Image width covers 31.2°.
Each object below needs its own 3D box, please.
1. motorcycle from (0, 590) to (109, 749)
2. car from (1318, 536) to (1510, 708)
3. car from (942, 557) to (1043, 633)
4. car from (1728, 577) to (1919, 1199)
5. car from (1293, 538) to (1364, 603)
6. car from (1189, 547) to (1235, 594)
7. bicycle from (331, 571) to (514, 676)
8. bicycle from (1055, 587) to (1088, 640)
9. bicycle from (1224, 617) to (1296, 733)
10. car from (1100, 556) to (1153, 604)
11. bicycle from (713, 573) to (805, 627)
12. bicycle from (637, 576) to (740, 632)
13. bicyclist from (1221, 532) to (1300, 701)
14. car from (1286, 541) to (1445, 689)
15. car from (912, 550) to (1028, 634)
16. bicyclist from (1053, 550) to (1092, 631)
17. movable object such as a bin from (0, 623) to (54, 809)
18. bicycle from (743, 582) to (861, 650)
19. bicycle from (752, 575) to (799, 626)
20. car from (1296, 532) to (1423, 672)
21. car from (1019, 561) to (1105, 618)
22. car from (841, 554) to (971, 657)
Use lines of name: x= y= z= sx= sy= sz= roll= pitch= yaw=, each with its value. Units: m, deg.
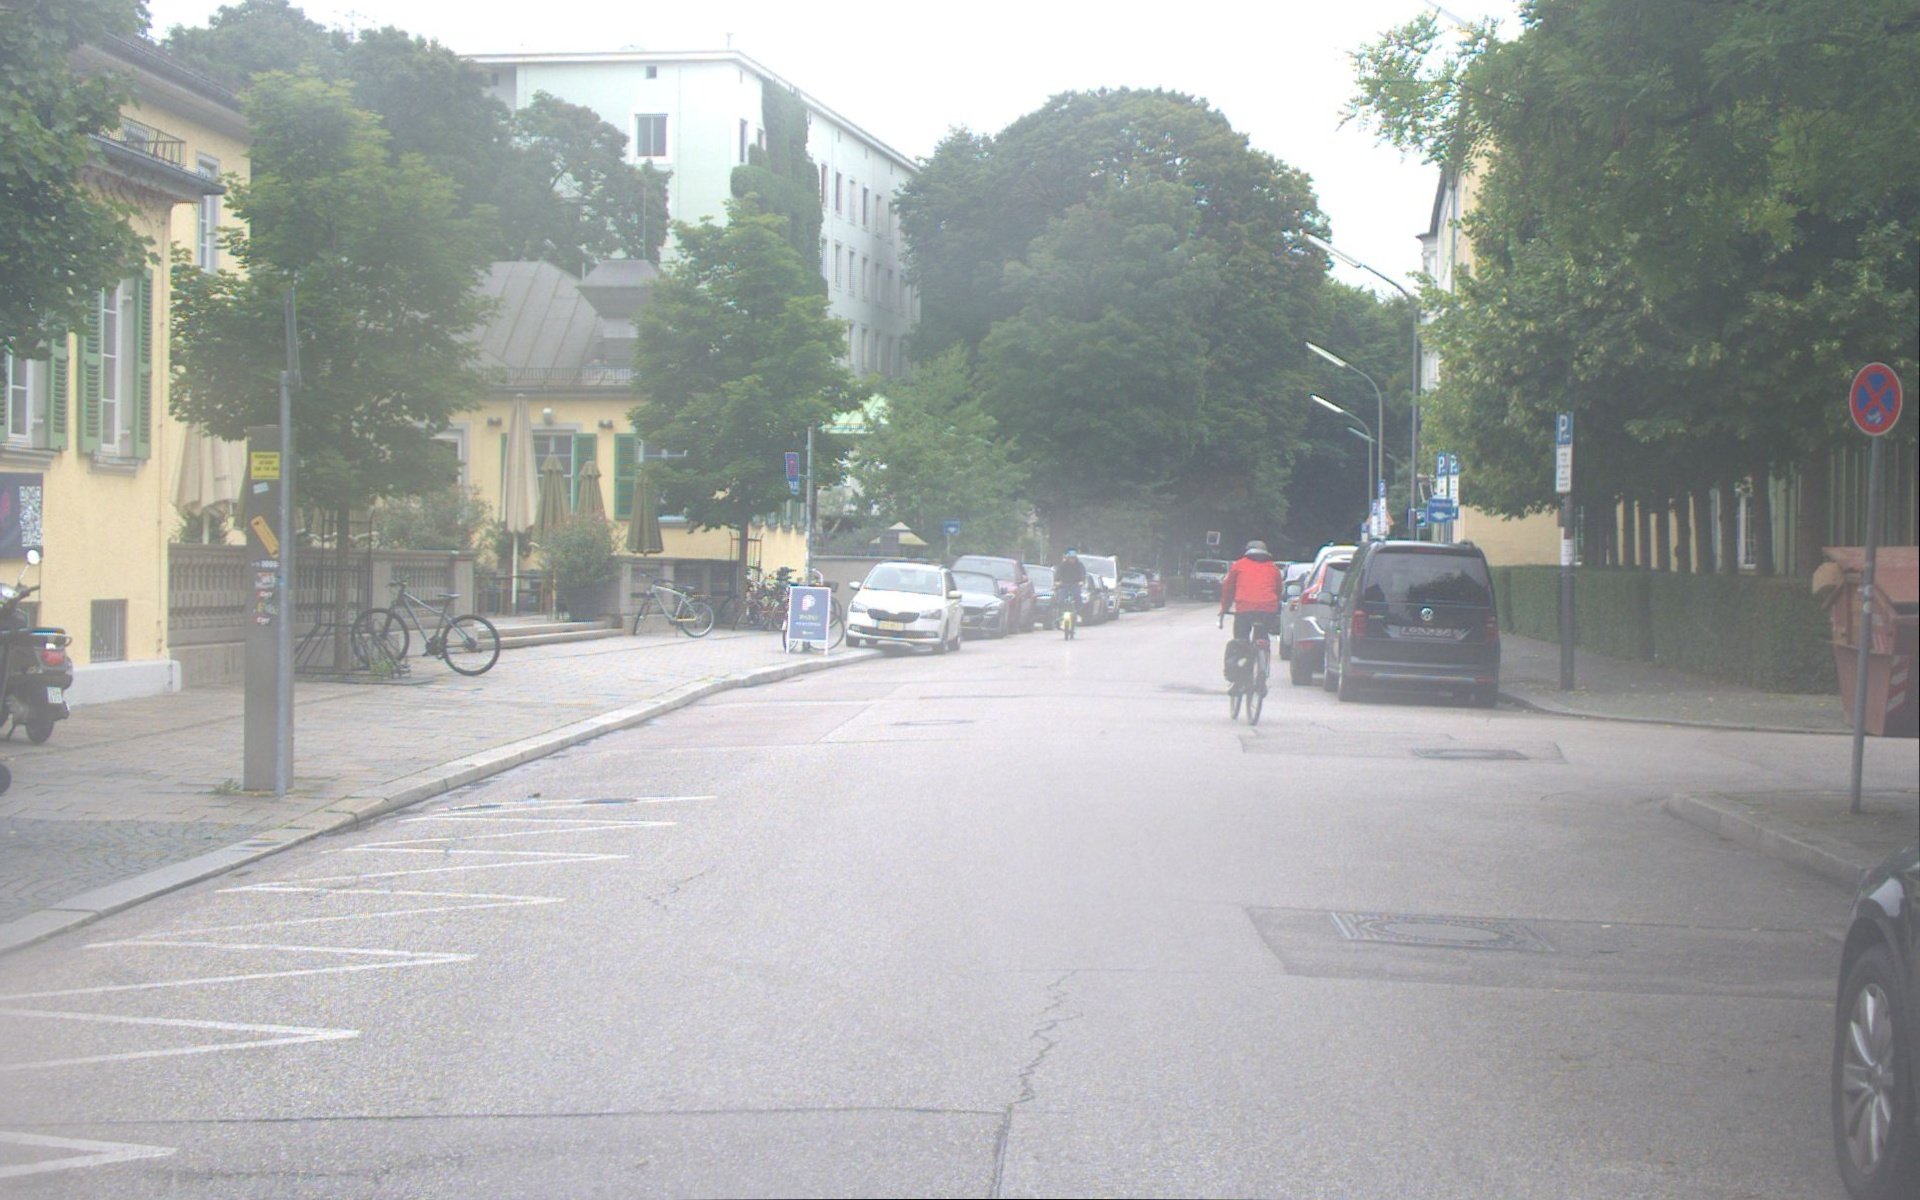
motorcycle: x=-6.929 y=0.497 z=25.496 sx=0.557 sy=1.097 sz=1.838 roll=2 pitch=1 yaw=-34
car: x=5.135 y=0.209 z=39.339 sx=1.760 sy=1.817 sz=4.139 roll=2 pitch=1 yaw=2
car: x=0.747 y=-0.104 z=76.436 sx=1.994 sy=1.597 sz=3.999 roll=1 pitch=0 yaw=4
car: x=2.967 y=0.771 z=6.579 sx=1.771 sy=1.485 sz=4.974 roll=3 pitch=1 yaw=0
car: x=12.096 y=-0.991 z=113.009 sx=1.994 sy=2.053 sz=4.623 roll=1 pitch=1 yaw=3
car: x=11.920 y=-1.413 z=162.623 sx=1.994 sy=2.091 sz=3.999 roll=4 pitch=1 yaw=4
bicycle: x=-6.150 y=0.268 z=39.394 sx=1.931 sy=1.095 sz=0.615 roll=3 pitch=1 yaw=5
bicycle: x=2.202 y=0.254 z=68.137 sx=0.621 sy=1.001 sz=2.140 roll=1 pitch=1 yaw=1
bicycle: x=2.699 y=0.668 z=30.951 sx=0.621 sy=1.001 sz=2.139 roll=1 pitch=-1 yaw=5
car: x=6.081 y=-0.745 z=125.170 sx=1.810 sy=1.677 sz=3.999 roll=1 pitch=1 yaw=4
bicycle: x=-3.802 y=0.003 z=65.084 sx=1.613 sy=1.001 sz=0.623 roll=1 pitch=-1 yaw=-30
bicycle: x=-4.626 y=0.070 z=58.491 sx=1.613 sy=0.922 sz=0.651 roll=1 pitch=-1 yaw=-22
bicyclist: x=2.706 y=0.154 z=30.975 sx=0.672 sy=1.492 sz=1.094 roll=1 pitch=-1 yaw=5
car: x=5.153 y=0.146 z=44.168 sx=1.863 sy=1.787 sz=4.509 roll=1 pitch=1 yaw=5
car: x=0.235 y=-0.185 z=71.115 sx=1.994 sy=1.643 sz=4.654 roll=1 pitch=1 yaw=5
bicyclist: x=2.238 y=-0.195 z=68.210 sx=0.743 sy=1.570 sz=0.977 roll=1 pitch=1 yaw=2
movable object such as a bin: x=-5.972 y=0.674 z=20.448 sx=0.935 sy=1.060 sz=0.840 roll=1 pitch=1 yaw=0
bicycle: x=-2.474 y=0.260 z=54.127 sx=0.623 sy=1.001 sz=2.135 roll=4 pitch=2 yaw=36
bicycle: x=-3.777 y=0.011 z=70.441 sx=0.622 sy=1.001 sz=1.618 roll=1 pitch=-1 yaw=8
car: x=5.819 y=-0.008 z=50.347 sx=1.750 sy=1.936 sz=4.226 roll=1 pitch=1 yaw=6
car: x=2.803 y=-0.299 z=93.951 sx=1.994 sy=1.481 sz=3.999 roll=1 pitch=1 yaw=7
car: x=-0.888 y=0.073 z=58.567 sx=1.734 sy=1.576 sz=3.787 roll=4 pitch=1 yaw=5
